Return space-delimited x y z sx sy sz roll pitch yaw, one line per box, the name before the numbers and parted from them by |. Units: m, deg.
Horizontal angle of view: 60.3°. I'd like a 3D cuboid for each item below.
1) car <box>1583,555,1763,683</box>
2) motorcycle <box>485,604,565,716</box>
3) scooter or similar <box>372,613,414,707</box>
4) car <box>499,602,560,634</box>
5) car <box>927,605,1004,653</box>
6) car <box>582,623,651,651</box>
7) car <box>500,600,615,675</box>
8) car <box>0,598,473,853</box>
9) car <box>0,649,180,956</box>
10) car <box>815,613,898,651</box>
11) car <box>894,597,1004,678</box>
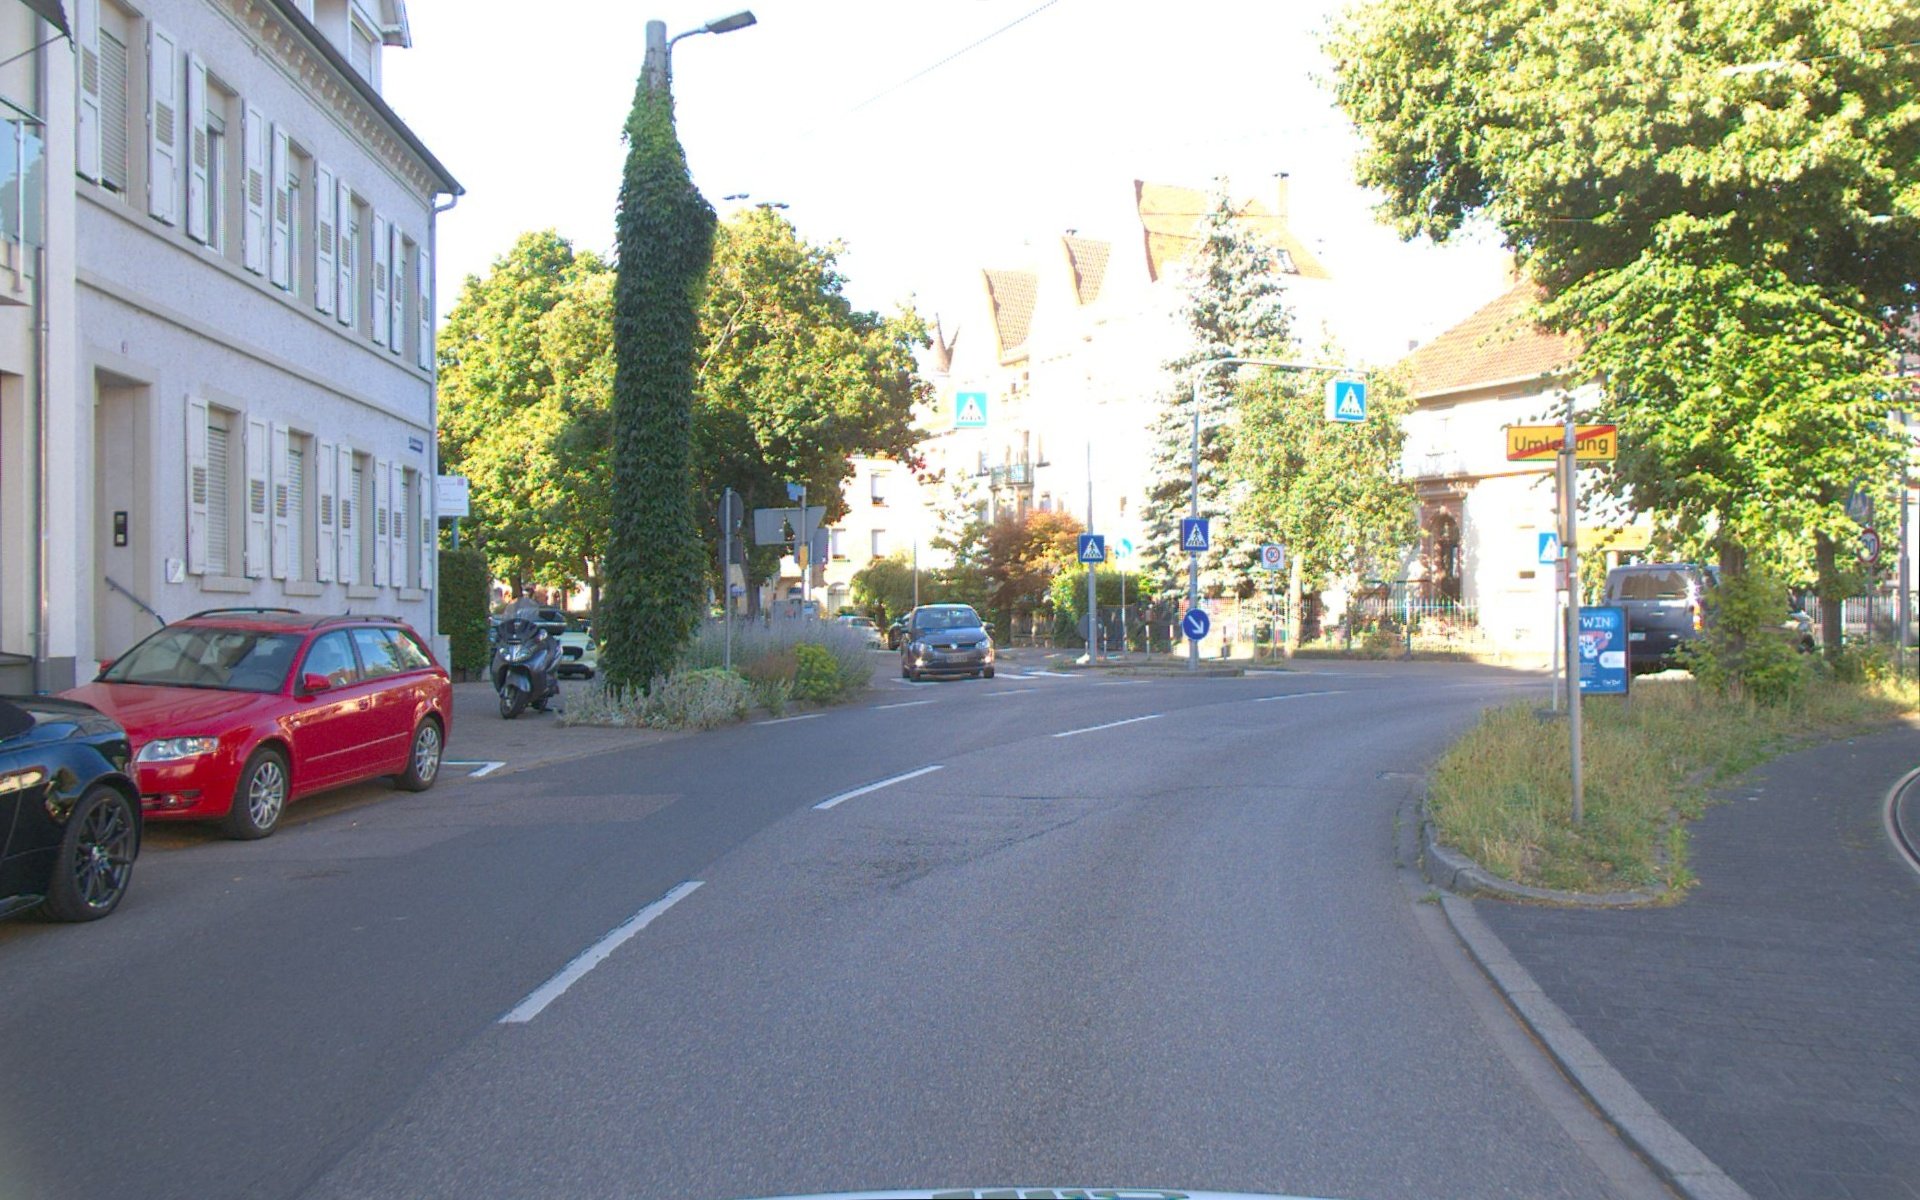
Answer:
car | 12.366 0.310 28.561 1.961 2.049 3.983 0 0 37
motorcycle | -5.722 0.769 21.893 0.915 1.381 2.556 1 -1 -13
scooter or similar | -7.795 0.806 22.773 0.500 1.251 1.533 1 -1 -18
car | -28.863 1.221 110.733 2.322 2.076 4.866 1 -1 -36
car | 0.145 1.039 59.191 1.958 1.624 3.988 1 -1 -12
car | -21.047 2.250 101.216 2.322 1.624 4.866 1 -1 -36
car | -8.912 0.812 36.436 1.784 1.563 3.880 1 -1 -24
car | -5.365 0.759 12.396 1.673 1.492 4.595 2 0 5
car | -4.994 0.869 6.743 1.630 1.296 4.026 2 -1 1
car | -4.703 1.419 74.436 2.307 1.624 4.896 1 -1 -22
car | -0.278 0.714 32.575 1.680 1.428 3.731 -2 -1 -8
